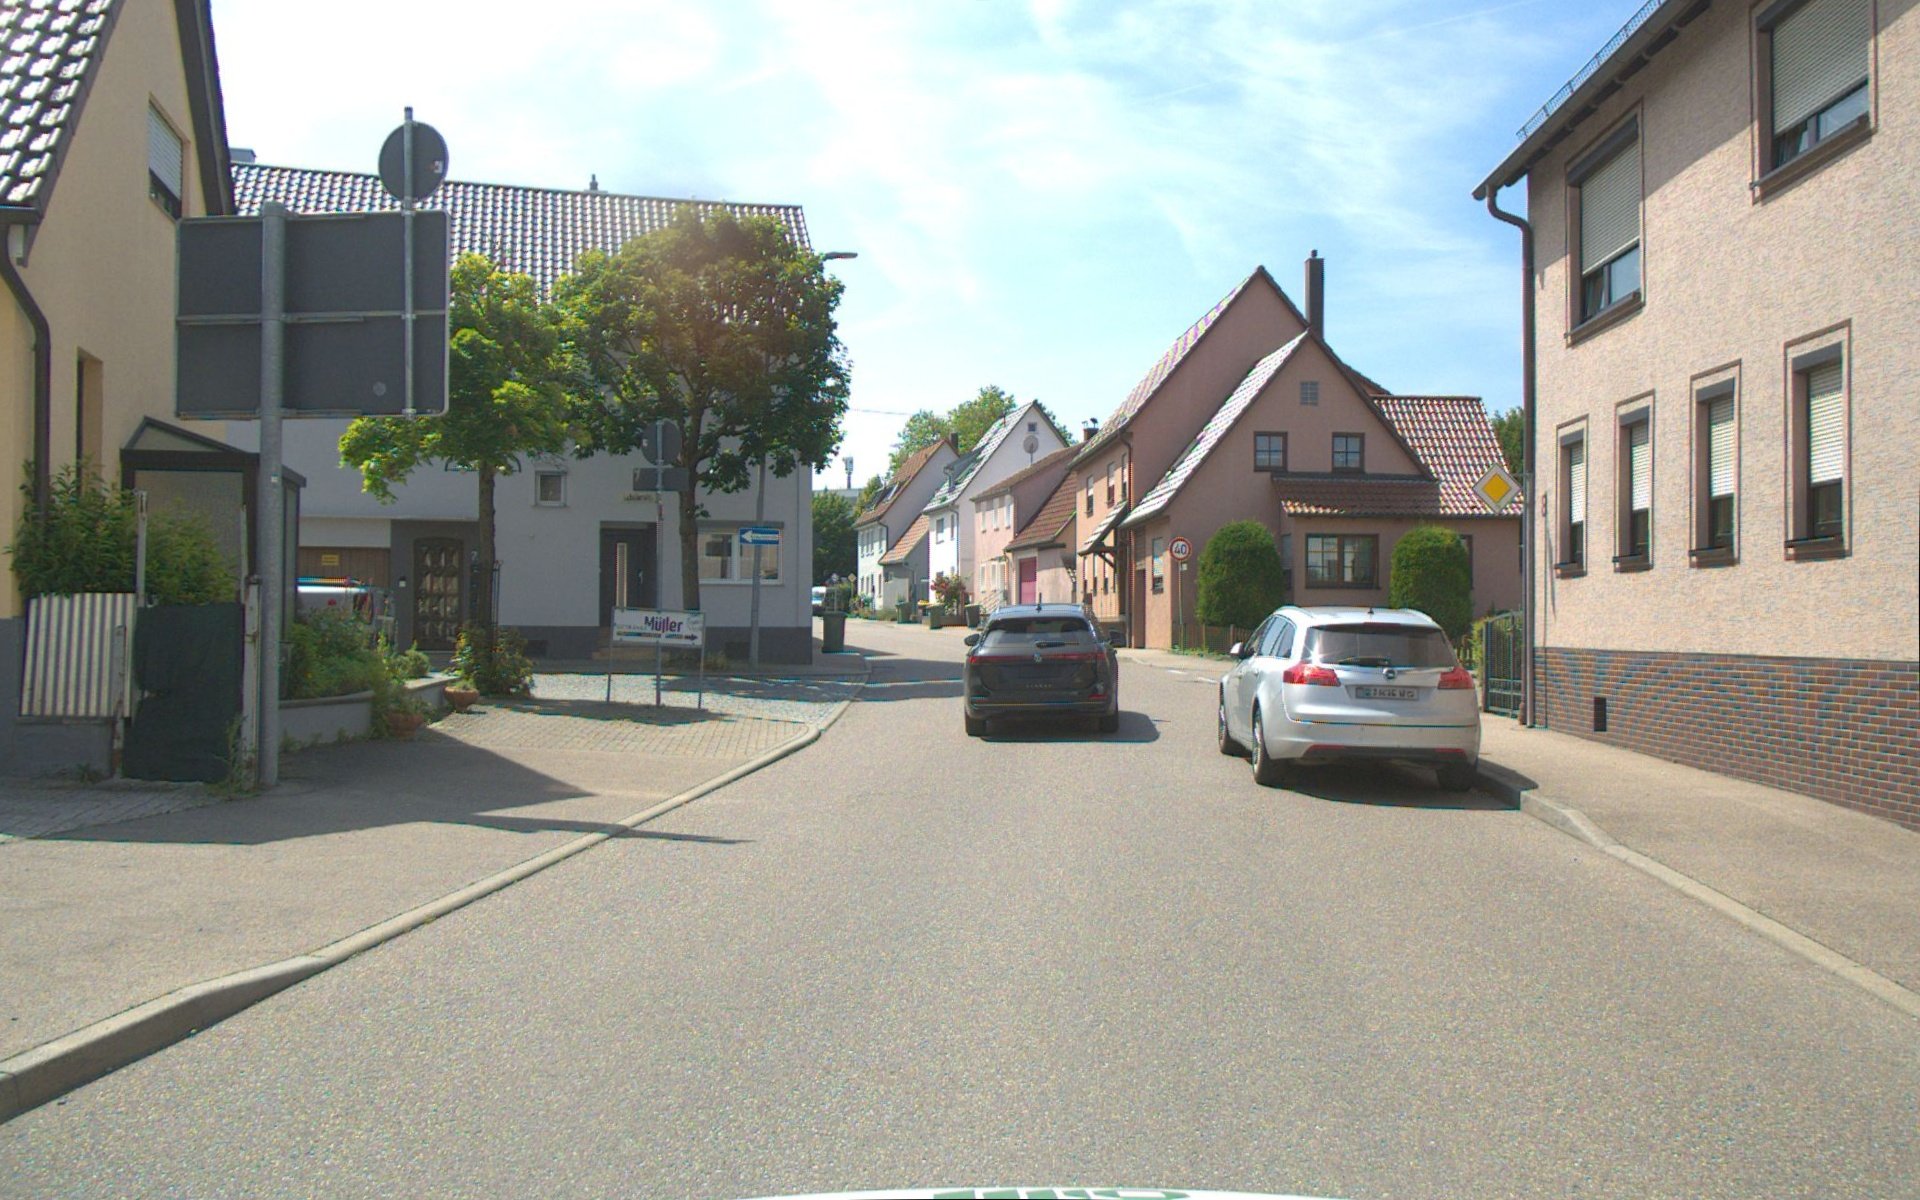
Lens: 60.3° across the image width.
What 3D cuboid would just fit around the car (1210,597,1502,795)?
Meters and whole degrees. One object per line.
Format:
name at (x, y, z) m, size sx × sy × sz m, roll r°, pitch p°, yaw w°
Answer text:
car at (3.400, 0.747, 15.010) m, size 1.748 × 1.467 × 4.338 m, roll 2°, pitch 0°, yaw 3°

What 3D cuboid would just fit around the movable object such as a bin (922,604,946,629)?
movable object such as a bin at (-1.181, 0.738, 75.413) m, size 0.862 × 1.093 × 0.869 m, roll -3°, pitch 1°, yaw -17°

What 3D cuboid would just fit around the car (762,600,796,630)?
car at (-9.969, 0.820, 90.988) m, size 1.766 × 1.583 × 4.064 m, roll 0°, pitch 0°, yaw -8°

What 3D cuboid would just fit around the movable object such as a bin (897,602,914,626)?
movable object such as a bin at (-2.773, 0.714, 84.531) m, size 0.667 × 1.175 × 0.816 m, roll 2°, pitch -1°, yaw -16°

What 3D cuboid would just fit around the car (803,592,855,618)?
car at (-11.089, 0.426, 139.811) m, size 3.936 × 2.049 × 1.985 m, roll 1°, pitch 0°, yaw -25°

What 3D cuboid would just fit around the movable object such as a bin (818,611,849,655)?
movable object such as a bin at (-3.230, 0.844, 42.237) m, size 0.739 × 1.079 × 0.679 m, roll 1°, pitch 0°, yaw -6°

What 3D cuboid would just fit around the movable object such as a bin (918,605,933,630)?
movable object such as a bin at (-1.732, 0.891, 83.717) m, size 0.653 × 1.215 × 0.586 m, roll 1°, pitch -1°, yaw -13°

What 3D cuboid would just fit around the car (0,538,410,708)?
car at (-9.668, 0.279, 20.536) m, size 5.010 × 1.929 × 2.171 m, roll 1°, pitch 0°, yaw -8°

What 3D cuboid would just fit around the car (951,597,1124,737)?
car at (1.049, 0.714, 19.951) m, size 1.802 × 1.445 × 4.685 m, roll -2°, pitch 0°, yaw 6°

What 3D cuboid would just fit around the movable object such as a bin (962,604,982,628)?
movable object such as a bin at (0.536, 0.719, 74.466) m, size 0.667 × 1.068 × 0.831 m, roll -3°, pitch 1°, yaw -16°
